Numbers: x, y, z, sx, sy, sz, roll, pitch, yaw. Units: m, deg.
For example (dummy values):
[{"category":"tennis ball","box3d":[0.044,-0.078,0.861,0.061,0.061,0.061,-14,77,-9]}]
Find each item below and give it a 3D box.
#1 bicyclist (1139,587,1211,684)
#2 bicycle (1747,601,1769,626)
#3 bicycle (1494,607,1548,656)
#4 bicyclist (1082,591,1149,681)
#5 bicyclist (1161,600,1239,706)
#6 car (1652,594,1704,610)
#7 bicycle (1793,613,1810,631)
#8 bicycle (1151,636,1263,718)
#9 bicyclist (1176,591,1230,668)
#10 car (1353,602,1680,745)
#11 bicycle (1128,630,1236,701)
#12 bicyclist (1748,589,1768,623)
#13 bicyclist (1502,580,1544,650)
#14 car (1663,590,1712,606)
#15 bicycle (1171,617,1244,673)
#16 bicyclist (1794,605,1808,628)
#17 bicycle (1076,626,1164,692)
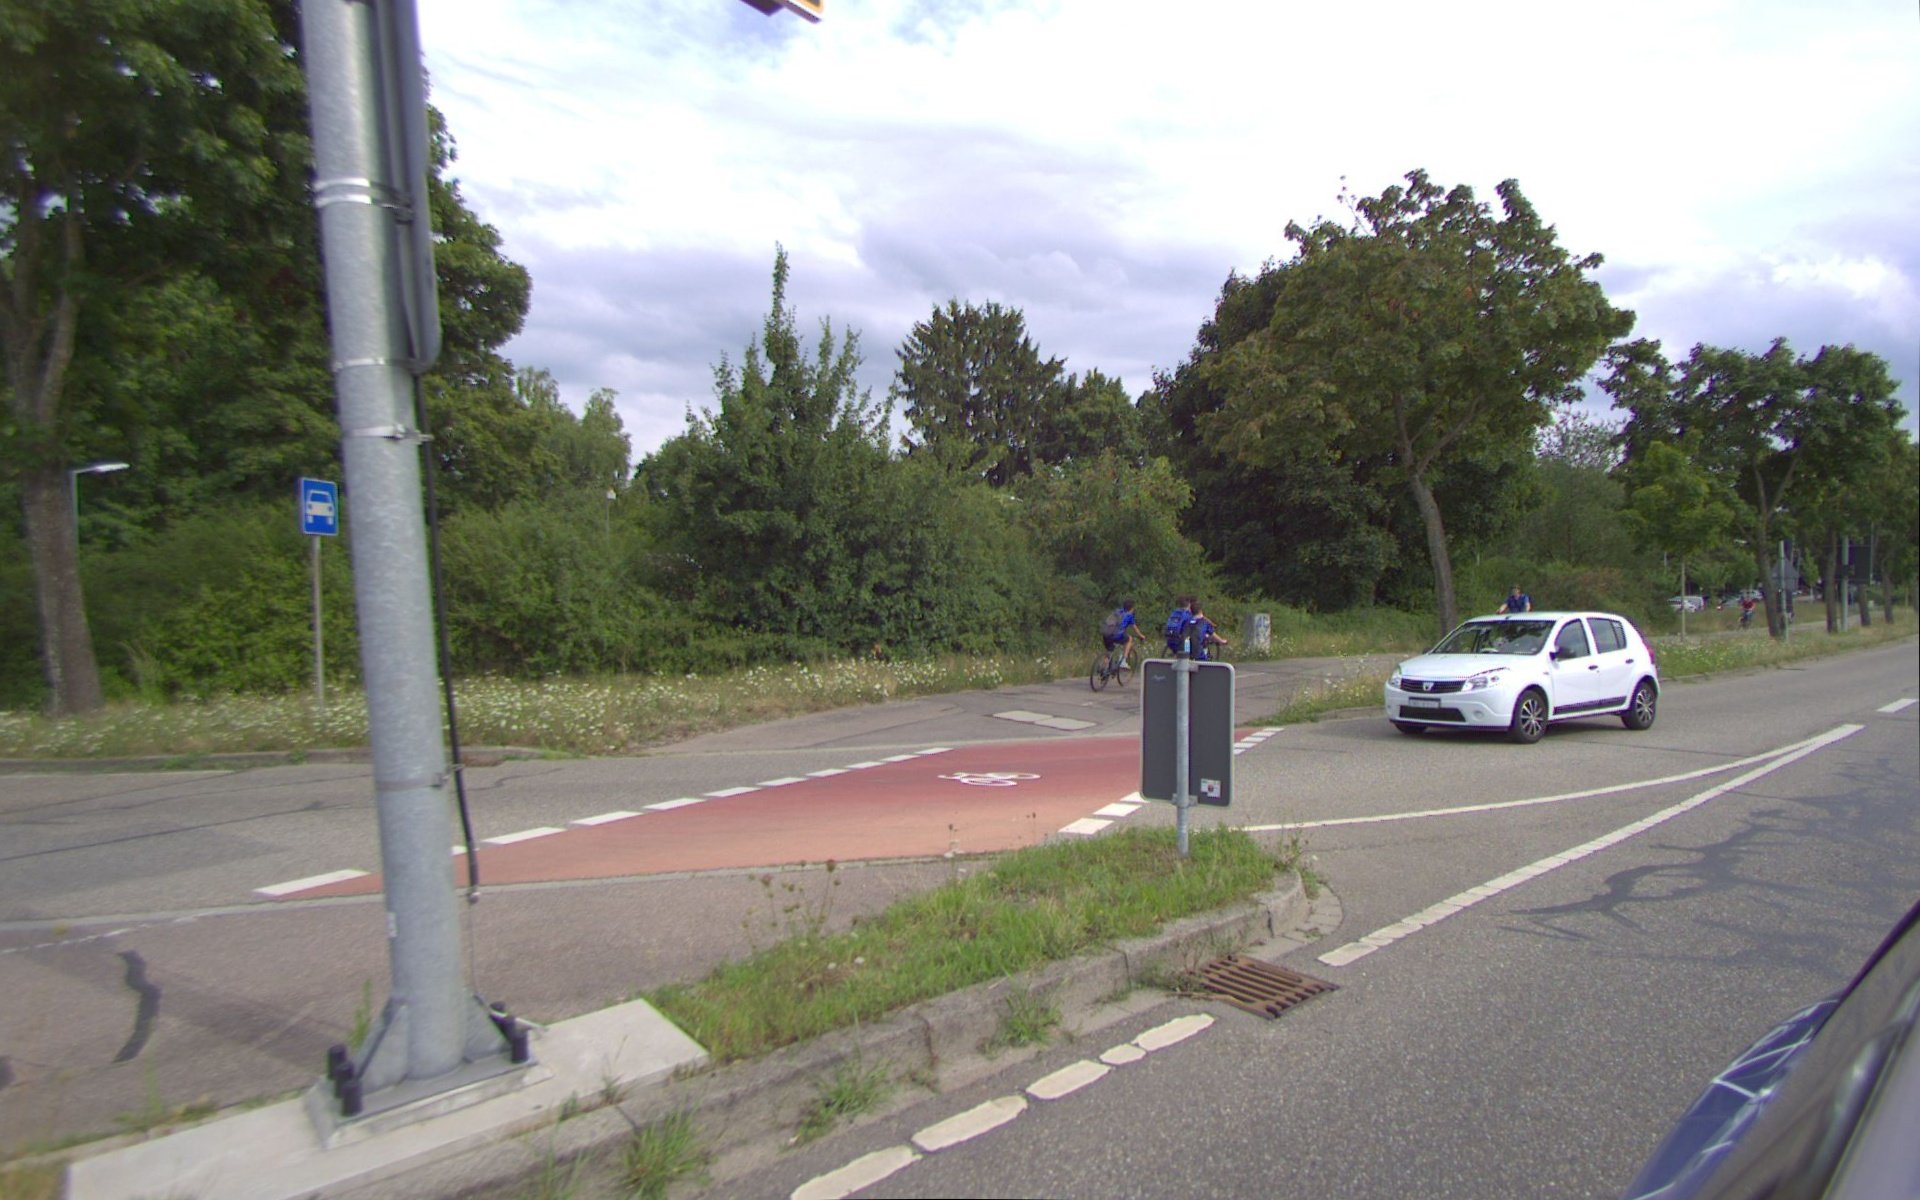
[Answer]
[{"category":"bicyclist","box3d":[3.516,0.557,16.553,0.942,1.537,0.742,0,-1,-43]},{"category":"bicycle","box3d":[39.533,0.657,50.115,2.194,1.162,0.514,0,1,-43]},{"category":"bicycle","box3d":[13.885,0.763,25.031,1.949,1.162,0.574,1,1,-43]},{"category":"bicyclist","box3d":[2.723,0.604,17.671,0.740,1.506,0.943,-1,-1,43]},{"category":"bicyclist","box3d":[3.650,0.772,15.391,0.942,1.537,0.742,0,-1,-42]},{"category":"car","box3d":[70.915,0.166,99.960,3.985,1.461,1.626,2,2,42]},{"category":"bicycle","box3d":[47.879,1.229,57.603,1.752,0.976,0.514,0,1,-43]},{"category":"bicycle","box3d":[3.807,1.146,15.493,2.067,1.018,0.621,-2,4,-43]},{"category":"bicyclist","box3d":[4.860,0.576,20.236,0.740,1.492,0.793,-1,-1,44]},{"category":"car","box3d":[7.078,0.834,12.814,3.920,1.521,1.854,0,-2,-31]},{"category":"bicycle","box3d":[3.684,1.047,16.680,2.157,1.050,0.596,1,0,-42]},{"category":"bicyclist","box3d":[39.577,0.303,50.202,0.768,1.679,0.652,0,-1,-43]},{"category":"bicyclist","box3d":[13.855,0.357,24.919,0.861,1.679,0.652,0,-1,-43]},{"category":"car","box3d":[75.800,-0.209,105.422,3.985,1.575,1.626,2,2,42]},{"category":"bicycle","box3d":[4.996,0.879,20.374,0.620,1.018,1.759,3,2,43]},{"category":"bicyclist","box3d":[47.846,0.922,57.580,0.442,1.299,0.539,0,-1,-43]},{"category":"bicycle","box3d":[2.823,1.001,17.755,0.620,1.018,1.760,3,2,43]}]
